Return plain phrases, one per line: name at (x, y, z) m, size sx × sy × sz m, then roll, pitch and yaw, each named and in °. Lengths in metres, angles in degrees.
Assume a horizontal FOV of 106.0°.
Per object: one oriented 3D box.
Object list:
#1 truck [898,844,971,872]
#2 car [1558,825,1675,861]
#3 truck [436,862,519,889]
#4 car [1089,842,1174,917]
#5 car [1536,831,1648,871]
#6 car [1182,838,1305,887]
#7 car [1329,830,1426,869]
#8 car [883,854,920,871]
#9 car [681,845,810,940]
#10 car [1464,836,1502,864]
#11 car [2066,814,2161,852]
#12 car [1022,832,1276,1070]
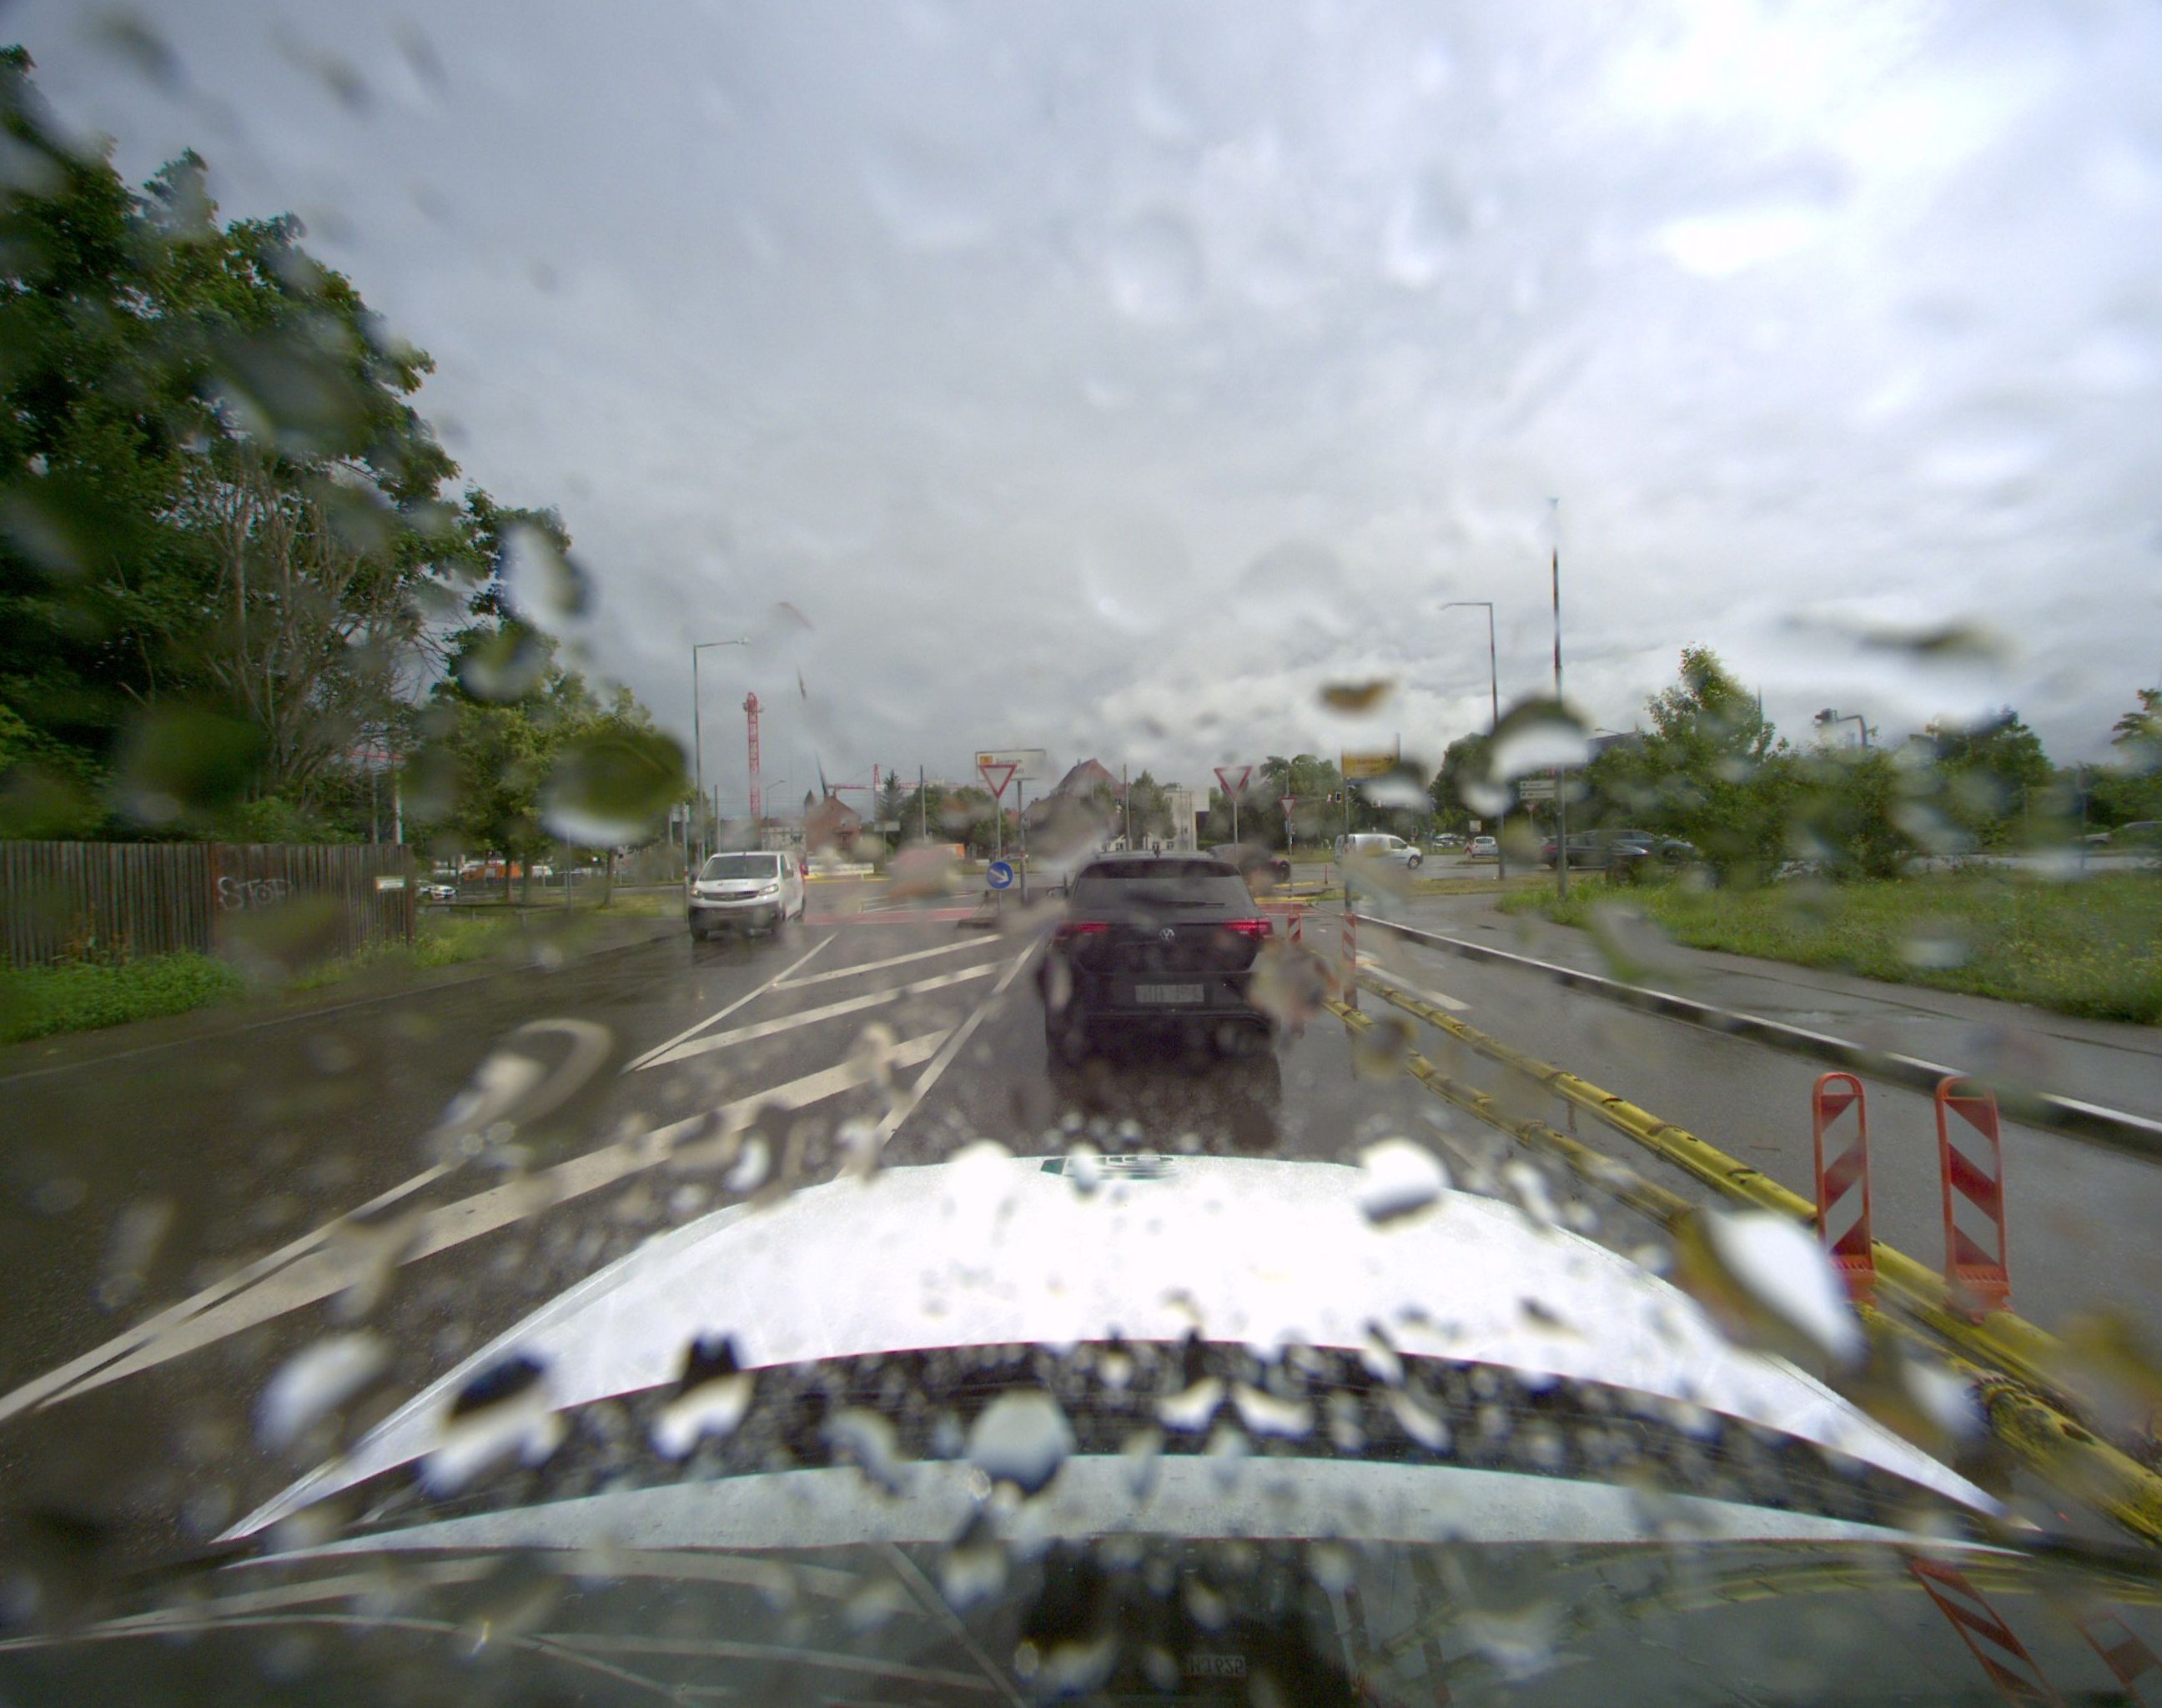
truck at (-15.047, 0.345, 83.915) m, size 7.126 × 2.650 × 2.303 m, roll -2°, pitch 0°, yaw -40°
car at (25.341, -0.495, 38.720) m, size 4.350 × 1.548 × 1.881 m, roll -1°, pitch 0°, yaw 24°
truck at (-60.818, 2.158, 82.151) m, size 6.671 × 2.442 × 2.437 m, roll -2°, pitch 0°, yaw 4°
car at (1.077, 0.529, 18.829) m, size 1.729 × 1.514 × 3.604 m, roll -2°, pitch 0°, yaw 0°
car at (22.424, -0.134, 35.873) m, size 3.907 × 1.644 × 1.680 m, roll -1°, pitch 0°, yaw 21°
car at (6.454, 0.317, 32.430) m, size 4.357 × 1.725 × 1.986 m, roll -2°, pitch 0°, yaw -20°
car at (14.862, -0.219, 40.819) m, size 4.404 × 1.809 × 1.857 m, roll -2°, pitch 0°, yaw -20°
car at (-18.941, 0.885, 86.013) m, size 3.523 × 1.584 × 1.549 m, roll -2°, pitch 0°, yaw -38°
car at (-7.738, 0.804, 19.296) m, size 1.890 × 1.876 × 5.111 m, roll -2°, pitch 0°, yaw -12°
car at (27.981, -0.317, 56.753) m, size 1.976 × 1.830 × 4.021 m, roll -2°, pitch 0°, yaw 21°
car at (46.891, -0.946, 36.030) m, size 1.925 × 1.560 × 4.065 m, roll -2°, pitch 0°, yaw -42°
car at (0.448, 0.658, 7.367) m, size 1.703 × 1.574 × 3.681 m, roll -1°, pitch 0°, yaw -1°
